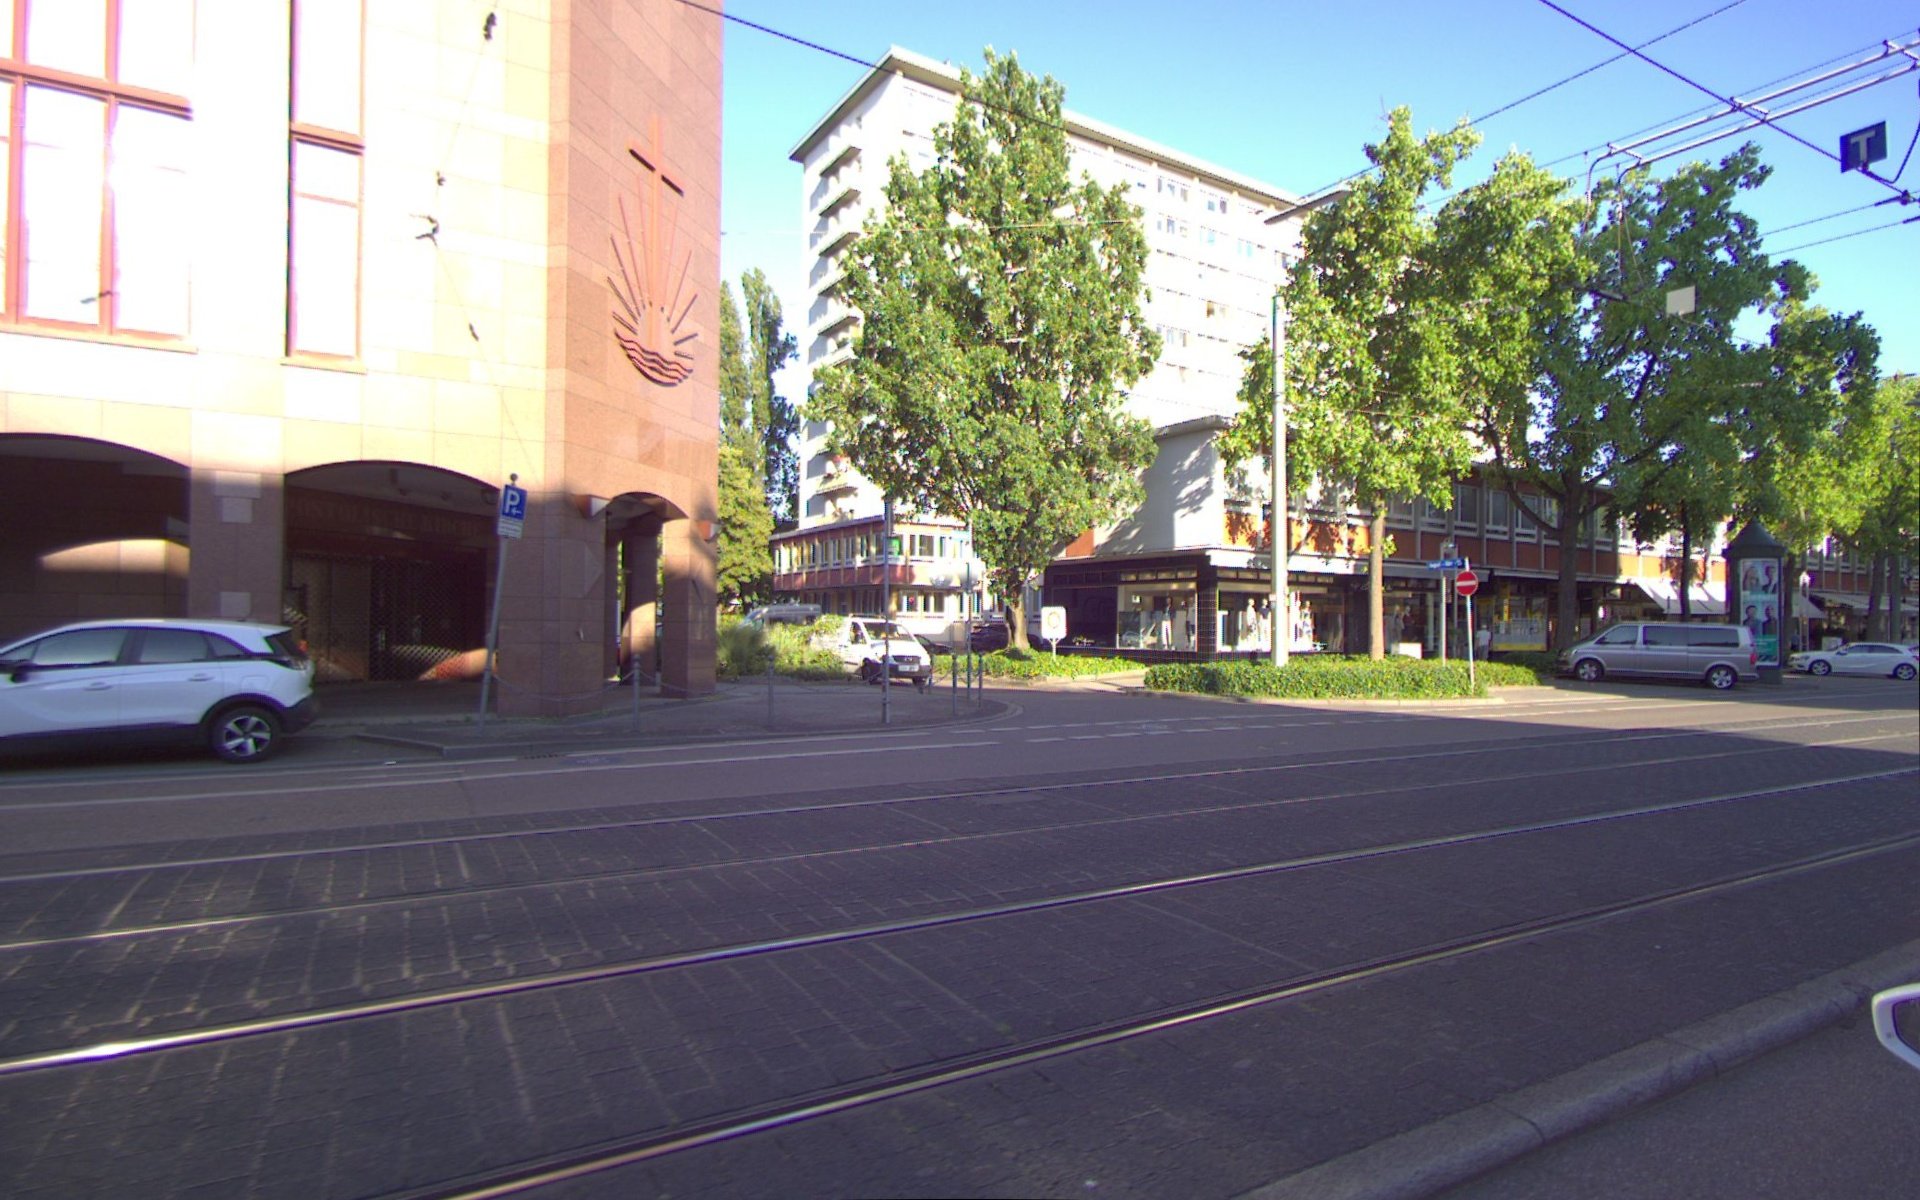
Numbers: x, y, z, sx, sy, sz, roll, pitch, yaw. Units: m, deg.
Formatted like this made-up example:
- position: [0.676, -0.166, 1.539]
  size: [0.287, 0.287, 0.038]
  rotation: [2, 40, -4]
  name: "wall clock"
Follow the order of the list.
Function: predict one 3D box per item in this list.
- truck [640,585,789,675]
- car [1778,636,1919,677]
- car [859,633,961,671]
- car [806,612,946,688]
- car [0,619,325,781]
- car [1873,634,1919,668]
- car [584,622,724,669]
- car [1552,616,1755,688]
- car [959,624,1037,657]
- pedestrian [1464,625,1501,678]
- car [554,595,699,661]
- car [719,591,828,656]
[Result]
- position: [-8.129, 1.007, 33.413]
  size: [4.484, 2.799, 1.839]
  rotation: [1, -2, -34]
  name: "truck"
- position: [37.324, 2.352, 42.268]
  size: [4.194, 1.448, 1.763]
  rotation: [2, 0, 30]
  name: "car"
- position: [-2.206, 2.288, 44.551]
  size: [4.055, 1.598, 2.021]
  rotation: [2, -2, -31]
  name: "car"
- position: [-2.593, 1.441, 29.807]
  size: [2.109, 1.993, 4.954]
  rotation: [5, -3, -31]
  name: "car"
- position: [-9.695, 1.056, 11.322]
  size: [4.230, 1.611, 1.586]
  rotation: [1, 0, -32]
  name: "car"
- position: [46.424, 2.459, 47.695]
  size: [4.203, 1.587, 1.824]
  rotation: [1, -1, 30]
  name: "car"
- position: [-10.940, 1.597, 36.055]
  size: [4.484, 1.594, 1.839]
  rotation: [1, -2, -34]
  name: "car"
- position: [21.635, 1.580, 31.633]
  size: [5.029, 1.954, 1.851]
  rotation: [2, 0, 29]
  name: "car"
- position: [2.146, 2.276, 56.170]
  size: [3.955, 1.817, 1.983]
  rotation: [2, -2, -32]
  name: "car"
- position: [19.081, 1.878, 36.696]
  size: [0.901, 1.902, 0.901]
  rotation: [0, -1, 4]
  name: "pedestrian"
- position: [-13.649, 1.146, 41.223]
  size: [5.355, 2.577, 1.840]
  rotation: [1, -1, -33]
  name: "car"
- position: [-10.490, 1.389, 56.640]
  size: [5.569, 3.455, 2.125]
  rotation: [3, -3, -31]
  name: "car"
